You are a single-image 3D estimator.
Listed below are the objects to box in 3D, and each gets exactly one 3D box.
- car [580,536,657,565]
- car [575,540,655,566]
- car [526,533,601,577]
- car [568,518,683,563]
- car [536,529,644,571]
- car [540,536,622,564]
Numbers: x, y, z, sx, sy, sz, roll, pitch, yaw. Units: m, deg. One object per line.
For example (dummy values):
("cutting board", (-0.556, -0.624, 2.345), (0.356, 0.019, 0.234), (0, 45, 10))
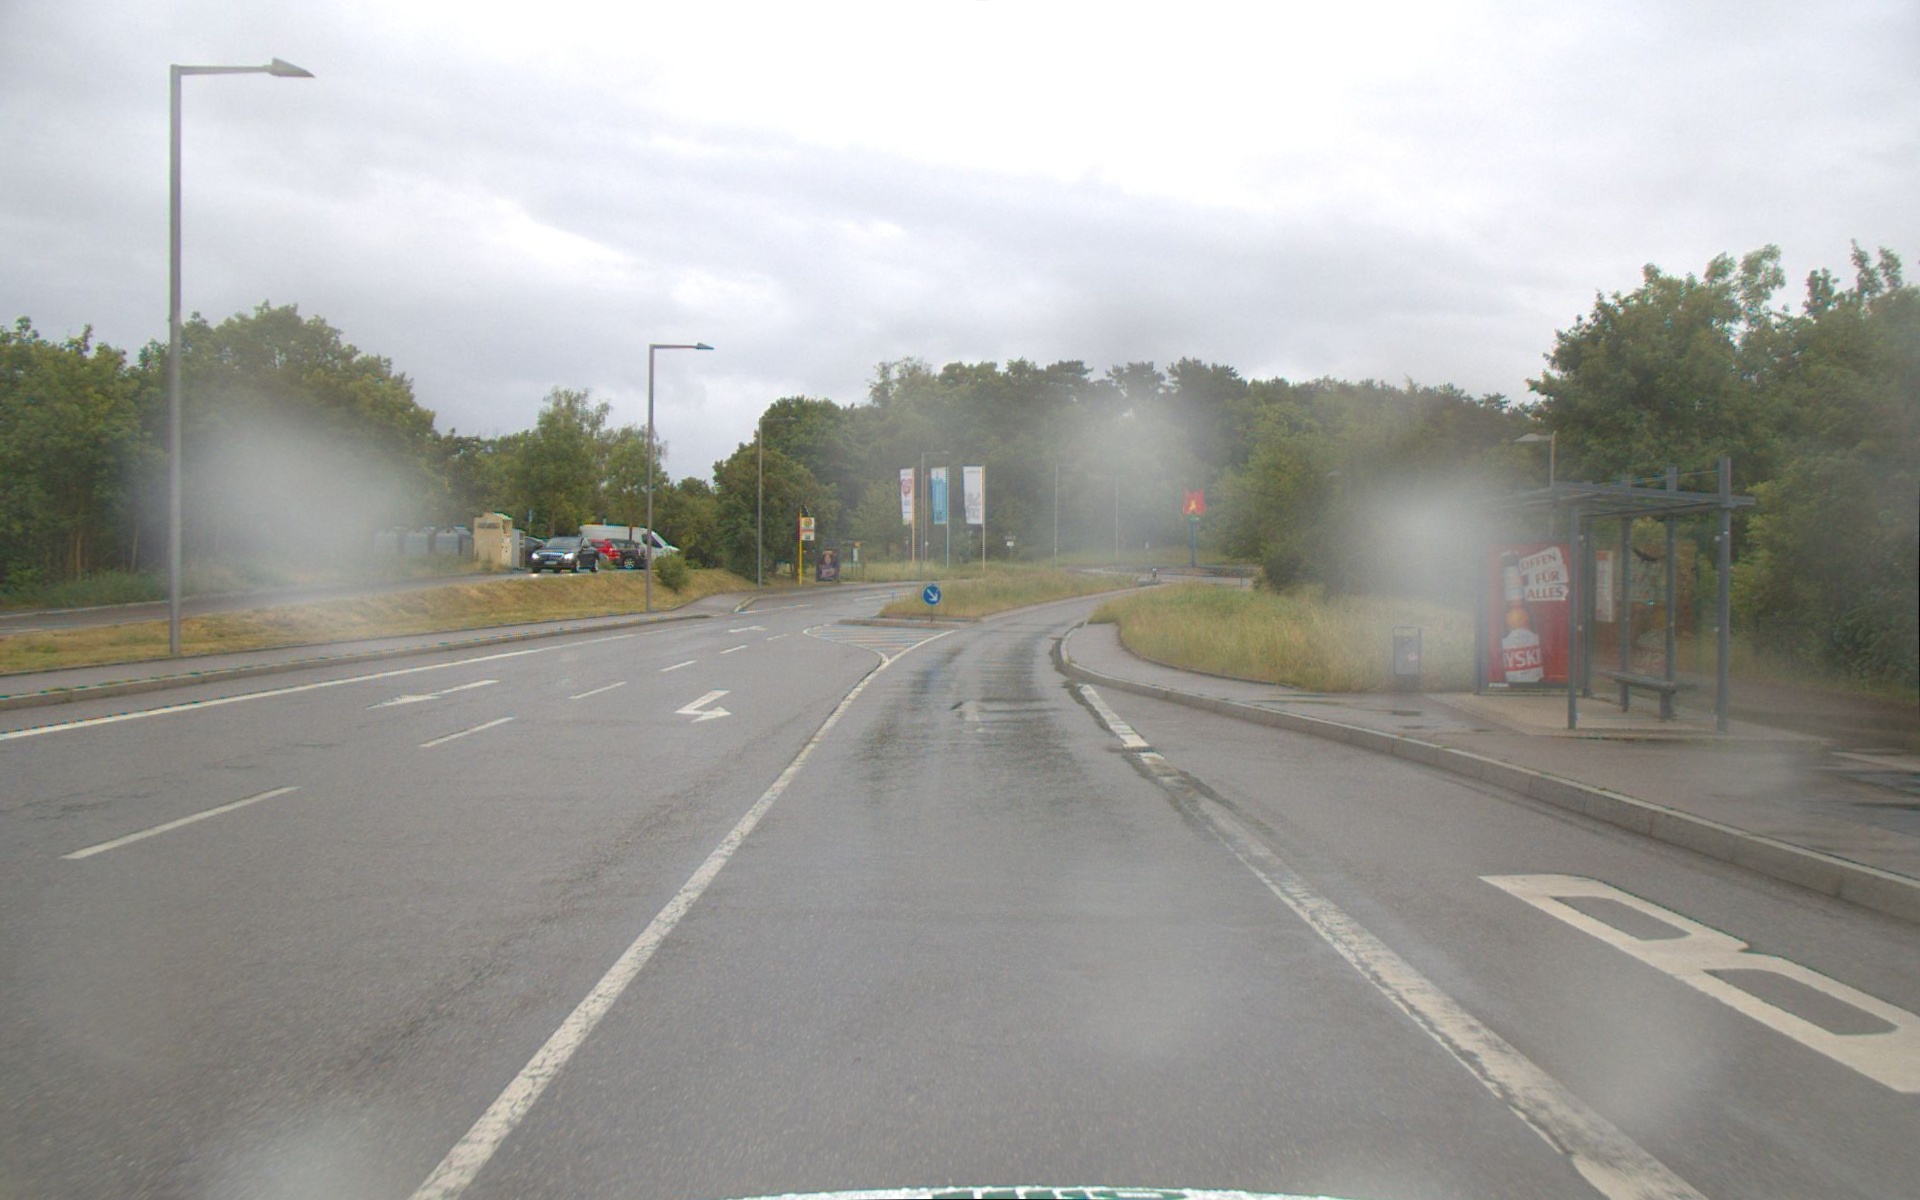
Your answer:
("car", (-19.351, -2.816, 93.779), (3.903, 1.387, 1.654), (3, 2, 6))
("car", (-19.091, -2.622, 91.619), (3.902, 1.387, 1.849), (1, 1, 7))
("car", (-16.190, -1.882, 67.734), (1.656, 1.595, 4.545), (3, 3, 4))
("car", (-20.084, -3.585, 99.489), (6.420, 2.439, 2.139), (2, 0, 1))
("car", (-17.742, -2.399, 79.353), (4.607, 1.722, 2.006), (3, 2, 4))
("car", (-20.288, -2.675, 88.572), (3.903, 1.494, 1.849), (1, 1, 5))
